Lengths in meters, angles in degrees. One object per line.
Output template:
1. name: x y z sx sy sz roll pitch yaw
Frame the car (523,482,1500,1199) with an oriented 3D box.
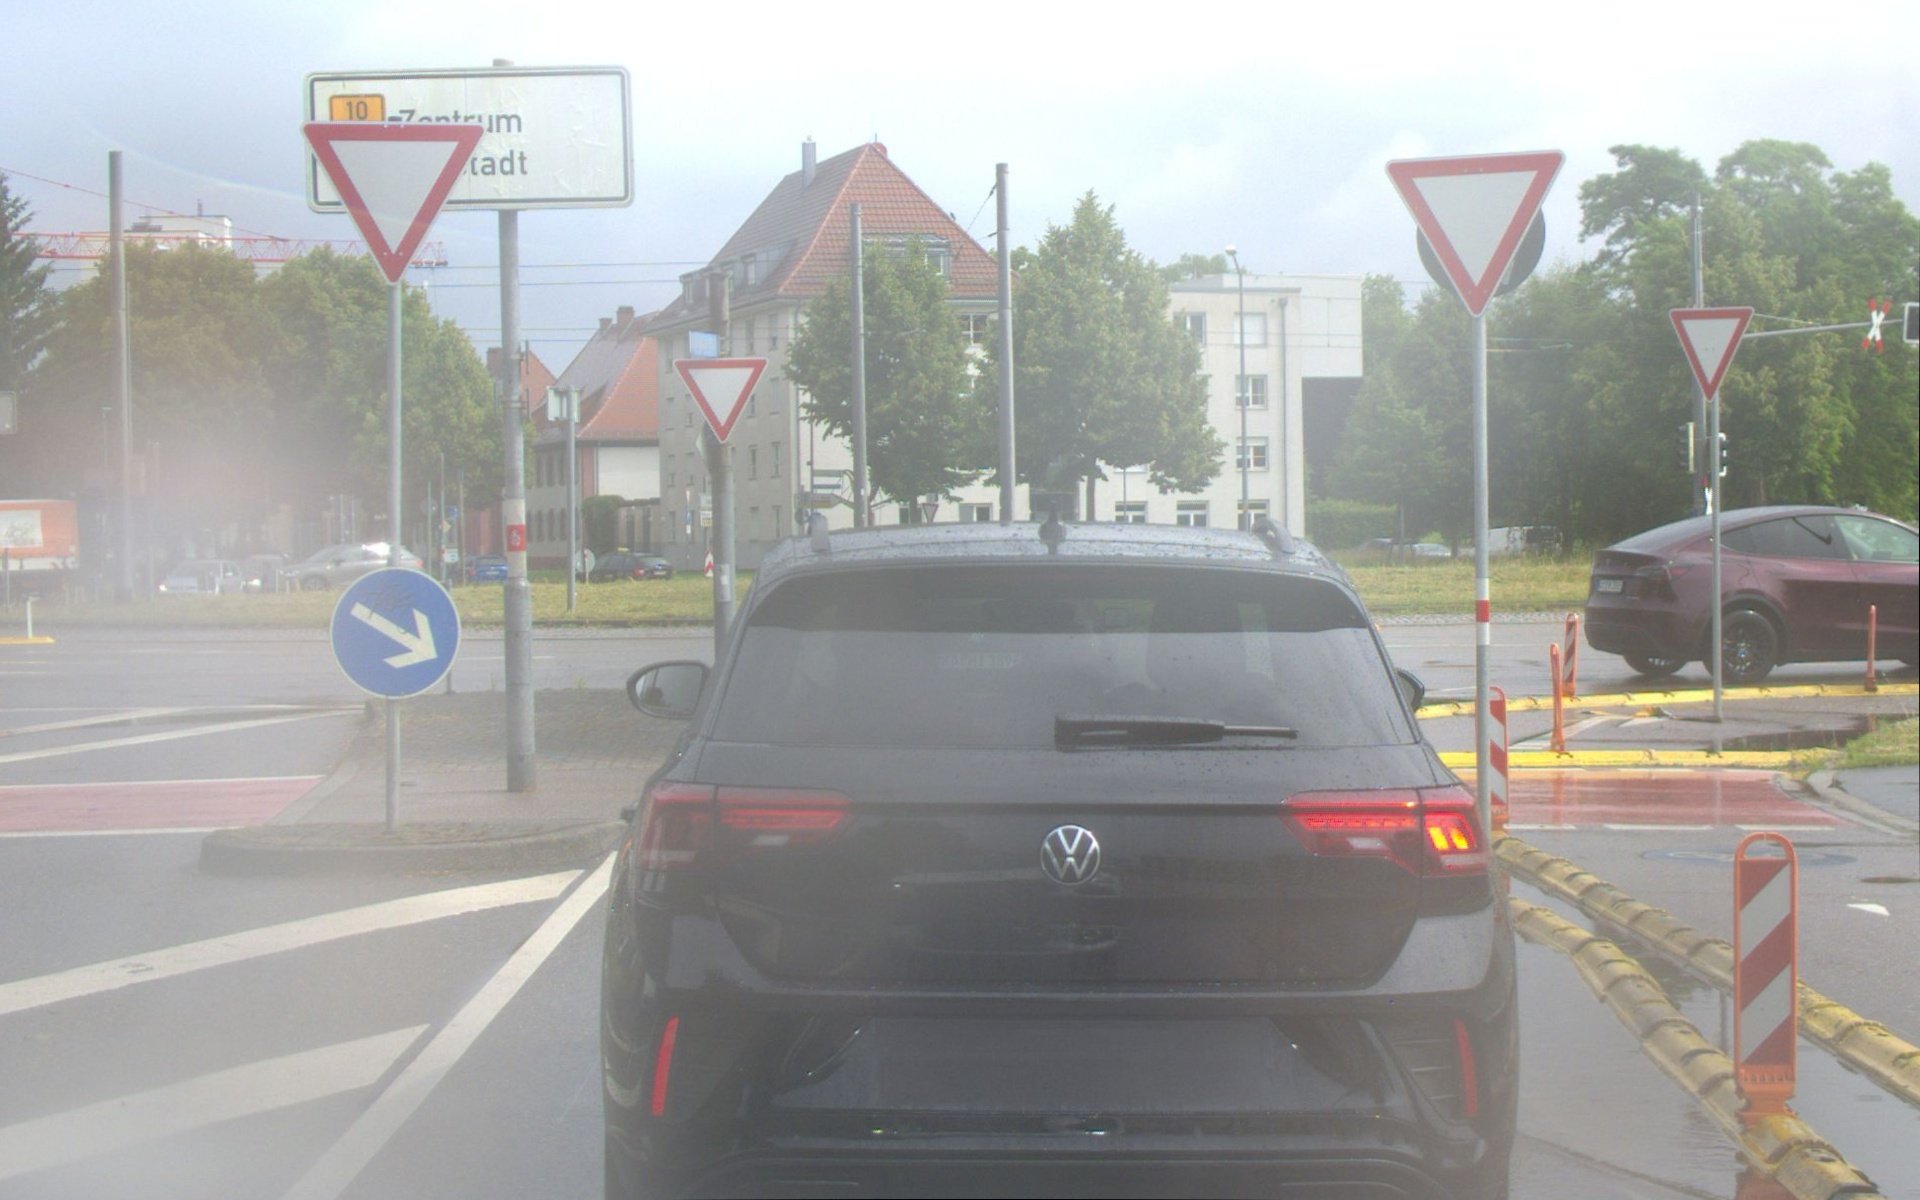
1. car: 0.001 0.554 7.852 1.708 1.568 3.683 0 1 -3

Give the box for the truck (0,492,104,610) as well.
1. truck: -22.889 -1.093 77.350 2.327 2.641 7.074 1 2 39

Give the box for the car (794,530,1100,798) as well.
1. car: -0.017 0.330 21.374 1.735 1.509 3.604 0 1 2

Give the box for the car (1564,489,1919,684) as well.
1. car: 8.109 -0.163 32.396 4.341 1.719 2.000 -1 1 -6
